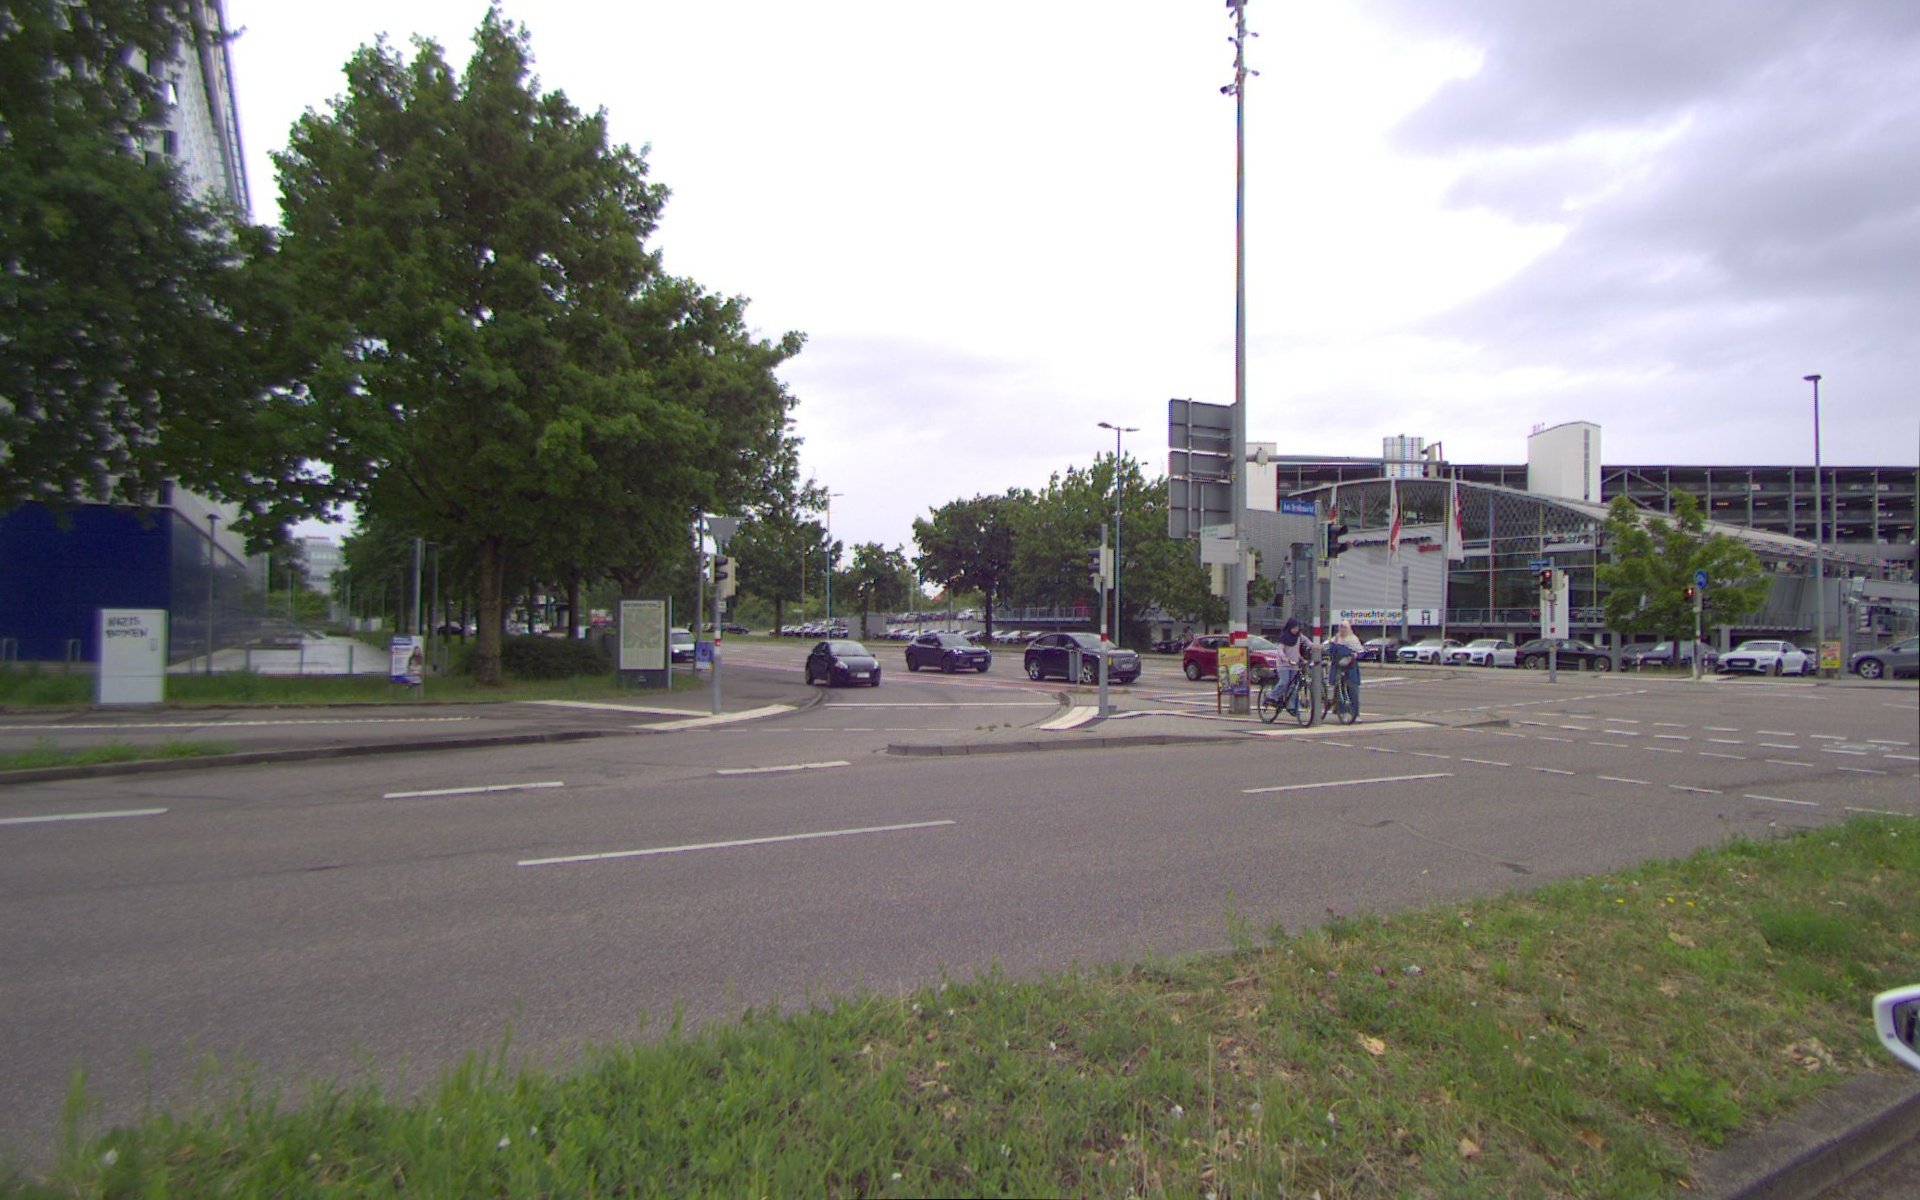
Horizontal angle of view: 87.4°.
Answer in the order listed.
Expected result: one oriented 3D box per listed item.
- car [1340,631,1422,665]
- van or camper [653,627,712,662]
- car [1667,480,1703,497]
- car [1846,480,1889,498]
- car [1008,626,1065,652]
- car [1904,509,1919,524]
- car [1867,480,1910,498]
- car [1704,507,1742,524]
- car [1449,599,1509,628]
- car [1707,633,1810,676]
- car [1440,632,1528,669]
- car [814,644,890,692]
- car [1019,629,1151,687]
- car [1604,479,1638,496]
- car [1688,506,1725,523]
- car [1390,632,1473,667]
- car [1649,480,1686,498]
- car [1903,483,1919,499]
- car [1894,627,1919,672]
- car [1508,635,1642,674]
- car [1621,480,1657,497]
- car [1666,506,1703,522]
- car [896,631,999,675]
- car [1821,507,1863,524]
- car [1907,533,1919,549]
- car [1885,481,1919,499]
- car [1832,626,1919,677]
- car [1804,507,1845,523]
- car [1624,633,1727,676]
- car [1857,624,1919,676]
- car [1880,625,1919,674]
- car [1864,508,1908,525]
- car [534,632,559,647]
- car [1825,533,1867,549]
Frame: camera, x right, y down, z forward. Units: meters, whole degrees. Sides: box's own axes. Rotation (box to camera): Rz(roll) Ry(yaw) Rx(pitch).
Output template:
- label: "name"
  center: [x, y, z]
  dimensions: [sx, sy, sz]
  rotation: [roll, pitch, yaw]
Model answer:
- label: "car"
  center: [21.720, 2.487, 51.747]
  dimensions: [4.187, 1.505, 1.855]
  rotation: [5, -4, -33]
- label: "van or camper"
  center: [-14.757, 2.399, 53.261]
  dimensions: [1.977, 1.744, 4.360]
  rotation: [1, -4, -31]
- label: "car"
  center: [93.384, -14.399, 129.439]
  dimensions: [1.960, 1.689, 4.001]
  rotation: [1, -1, 3]
- label: "car"
  center: [116.043, -14.192, 128.502]
  dimensions: [1.960, 1.689, 4.001]
  rotation: [1, -1, 3]
- label: "car"
  center: [5.917, 3.009, 77.661]
  dimensions: [4.037, 1.505, 1.802]
  rotation: [8, -3, -34]
- label: "car"
  center: [123.426, -10.719, 128.309]
  dimensions: [1.960, 1.689, 4.001]
  rotation: [1, -1, 3]
- label: "car"
  center: [118.663, -14.168, 128.444]
  dimensions: [1.960, 1.689, 4.001]
  rotation: [1, -1, 3]
- label: "car"
  center: [97.923, -10.851, 128.973]
  dimensions: [1.960, 1.689, 4.001]
  rotation: [1, -1, 3]
- label: "car"
  center: [33.538, 0.869, 64.883]
  dimensions: [3.960, 1.684, 1.808]
  rotation: [3, -1, -35]
- label: "car"
  center: [30.670, 2.092, 38.552]
  dimensions: [4.184, 1.505, 1.858]
  rotation: [4, -4, -33]
- label: "car"
  center: [24.724, 2.377, 47.374]
  dimensions: [4.154, 1.505, 1.836]
  rotation: [5, -4, -32]
- label: "car"
  center: [-3.529, 2.119, 32.292]
  dimensions: [1.699, 1.389, 3.985]
  rotation: [0, -2, -18]
- label: "car"
  center: [3.987, 1.817, 32.676]
  dimensions: [1.867, 1.659, 4.292]
  rotation: [-2, 0, -35]
- label: "car"
  center: [85.449, -14.505, 129.900]
  dimensions: [1.960, 1.689, 4.001]
  rotation: [1, -1, 3]
- label: "car"
  center: [95.738, -10.937, 128.880]
  dimensions: [1.960, 1.689, 4.001]
  rotation: [1, -1, 3]
- label: "car"
  center: [23.208, 2.433, 49.444]
  dimensions: [4.002, 1.505, 1.860]
  rotation: [5, -4, -33]
- label: "car"
  center: [91.014, -14.282, 129.281]
  dimensions: [1.960, 1.689, 4.001]
  rotation: [1, -1, 3]
- label: "car"
  center: [123.667, -14.086, 128.757]
  dimensions: [1.960, 1.689, 4.001]
  rotation: [1, -1, 3]
- label: "car"
  center: [42.981, 2.105, 42.392]
  dimensions: [2.034, 1.900, 4.915]
  rotation: [3, -4, -35]
- label: "car"
  center: [27.069, 2.379, 44.373]
  dimensions: [1.873, 1.505, 4.714]
  rotation: [5, -4, -32]
- label: "car"
  center: [87.842, -14.405, 129.993]
  dimensions: [1.960, 1.689, 4.001]
  rotation: [1, -1, 3]
- label: "car"
  center: [93.136, -11.040, 129.216]
  dimensions: [1.960, 1.689, 4.001]
  rotation: [1, -1, 3]
- label: "car"
  center: [-0.564, 2.066, 39.777]
  dimensions: [1.867, 1.565, 4.555]
  rotation: [0, -2, -35]
- label: "car"
  center: [112.857, -10.818, 128.533]
  dimensions: [1.960, 1.689, 4.001]
  rotation: [1, -1, 3]
- label: "car"
  center: [125.945, -7.743, 129.717]
  dimensions: [2.167, 1.971, 5.331]
  rotation: [1, -1, -1]
- label: "car"
  center: [121.424, -14.094, 128.792]
  dimensions: [1.960, 1.689, 4.001]
  rotation: [1, -1, 3]
- label: "car"
  center: [36.240, 1.934, 37.825]
  dimensions: [1.979, 1.887, 4.744]
  rotation: [3, -4, -33]
- label: "car"
  center: [110.712, -10.878, 128.648]
  dimensions: [1.960, 1.689, 4.001]
  rotation: [1, -1, 3]
- label: "car"
  center: [29.167, 2.232, 40.915]
  dimensions: [4.473, 1.505, 2.050]
  rotation: [5, -5, -35]
- label: "car"
  center: [38.383, 1.956, 39.197]
  dimensions: [1.979, 2.040, 4.674]
  rotation: [2, -4, -33]
- label: "car"
  center: [40.940, 2.015, 40.714]
  dimensions: [2.242, 2.040, 4.994]
  rotation: [2, -4, -33]
- label: "car"
  center: [118.415, -10.675, 128.482]
  dimensions: [1.960, 1.689, 4.001]
  rotation: [1, -1, 3]
- label: "car"
  center: [-45.806, 4.359, 111.187]
  dimensions: [1.843, 1.481, 4.292]
  rotation: [-1, 0, -33]
- label: "car"
  center: [113.419, -7.492, 128.586]
  dimensions: [1.960, 1.689, 4.001]
  rotation: [1, -1, 3]
